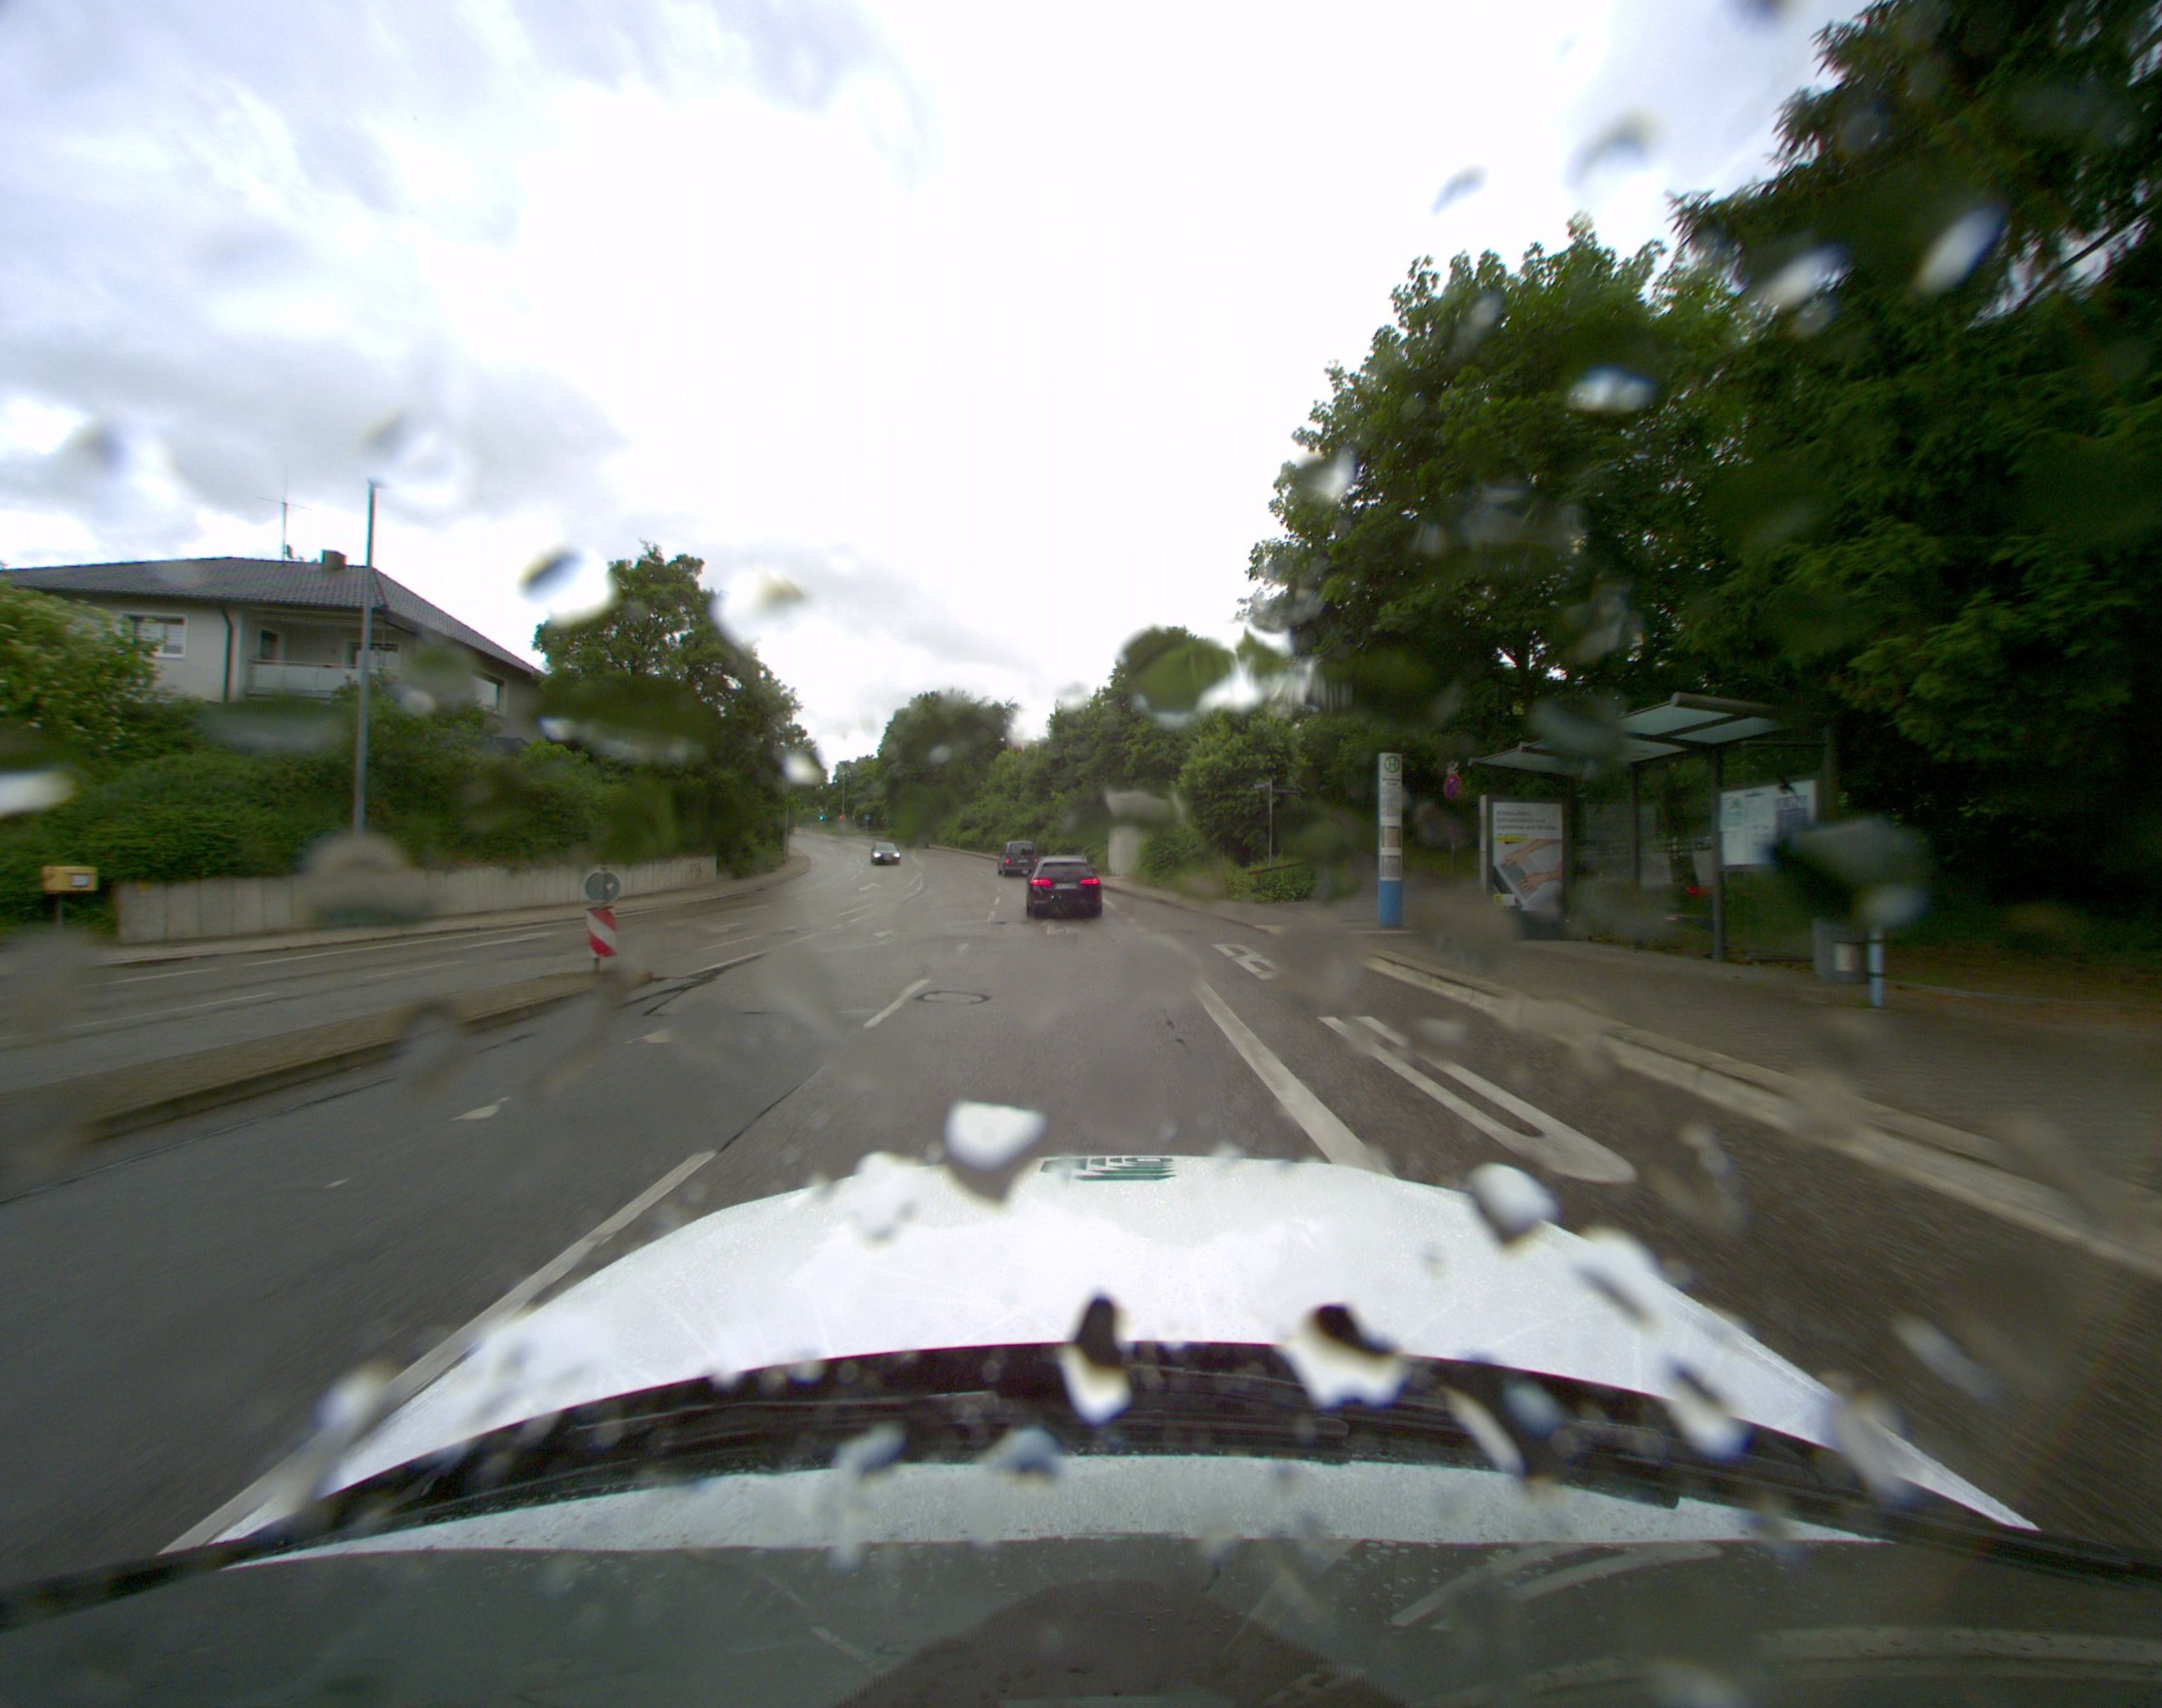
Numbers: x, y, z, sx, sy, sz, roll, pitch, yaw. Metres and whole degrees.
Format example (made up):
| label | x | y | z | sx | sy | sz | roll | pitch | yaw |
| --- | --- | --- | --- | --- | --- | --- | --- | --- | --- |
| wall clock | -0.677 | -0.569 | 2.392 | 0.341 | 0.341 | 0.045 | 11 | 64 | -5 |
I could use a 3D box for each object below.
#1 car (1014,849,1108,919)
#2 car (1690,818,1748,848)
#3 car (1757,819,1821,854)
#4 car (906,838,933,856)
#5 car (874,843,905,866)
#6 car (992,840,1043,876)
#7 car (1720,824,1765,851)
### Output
| label | x | y | z | sx | sy | sz | roll | pitch | yaw |
| --- | --- | --- | --- | --- | --- | --- | --- | --- | --- |
| car | -0.648 | 0.695 | 21.276 | 1.992 | 1.586 | 4.652 | 1 | 0 | -7 |
| car | 40.474 | -1.288 | 51.627 | 4.019 | 1.596 | 1.977 | 2 | -4 | -39 |
| car | 35.421 | -0.874 | 40.719 | 4.021 | 1.621 | 1.832 | -1 | 0 | -41 |
| car | -16.272 | -0.703 | 81.915 | 1.859 | 1.662 | 3.969 | 1 | -1 | -23 |
| car | -13.295 | 0.051 | 56.382 | 1.895 | 1.487 | 4.212 | -1 | 0 | -15 |
| car | -3.391 | 0.156 | 42.649 | 1.997 | 1.748 | 3.981 | -1 | 1 | -14 |
| car | 46.675 | -1.131 | 57.403 | 4.022 | 1.596 | 1.975 | 2 | -4 | -45 |
